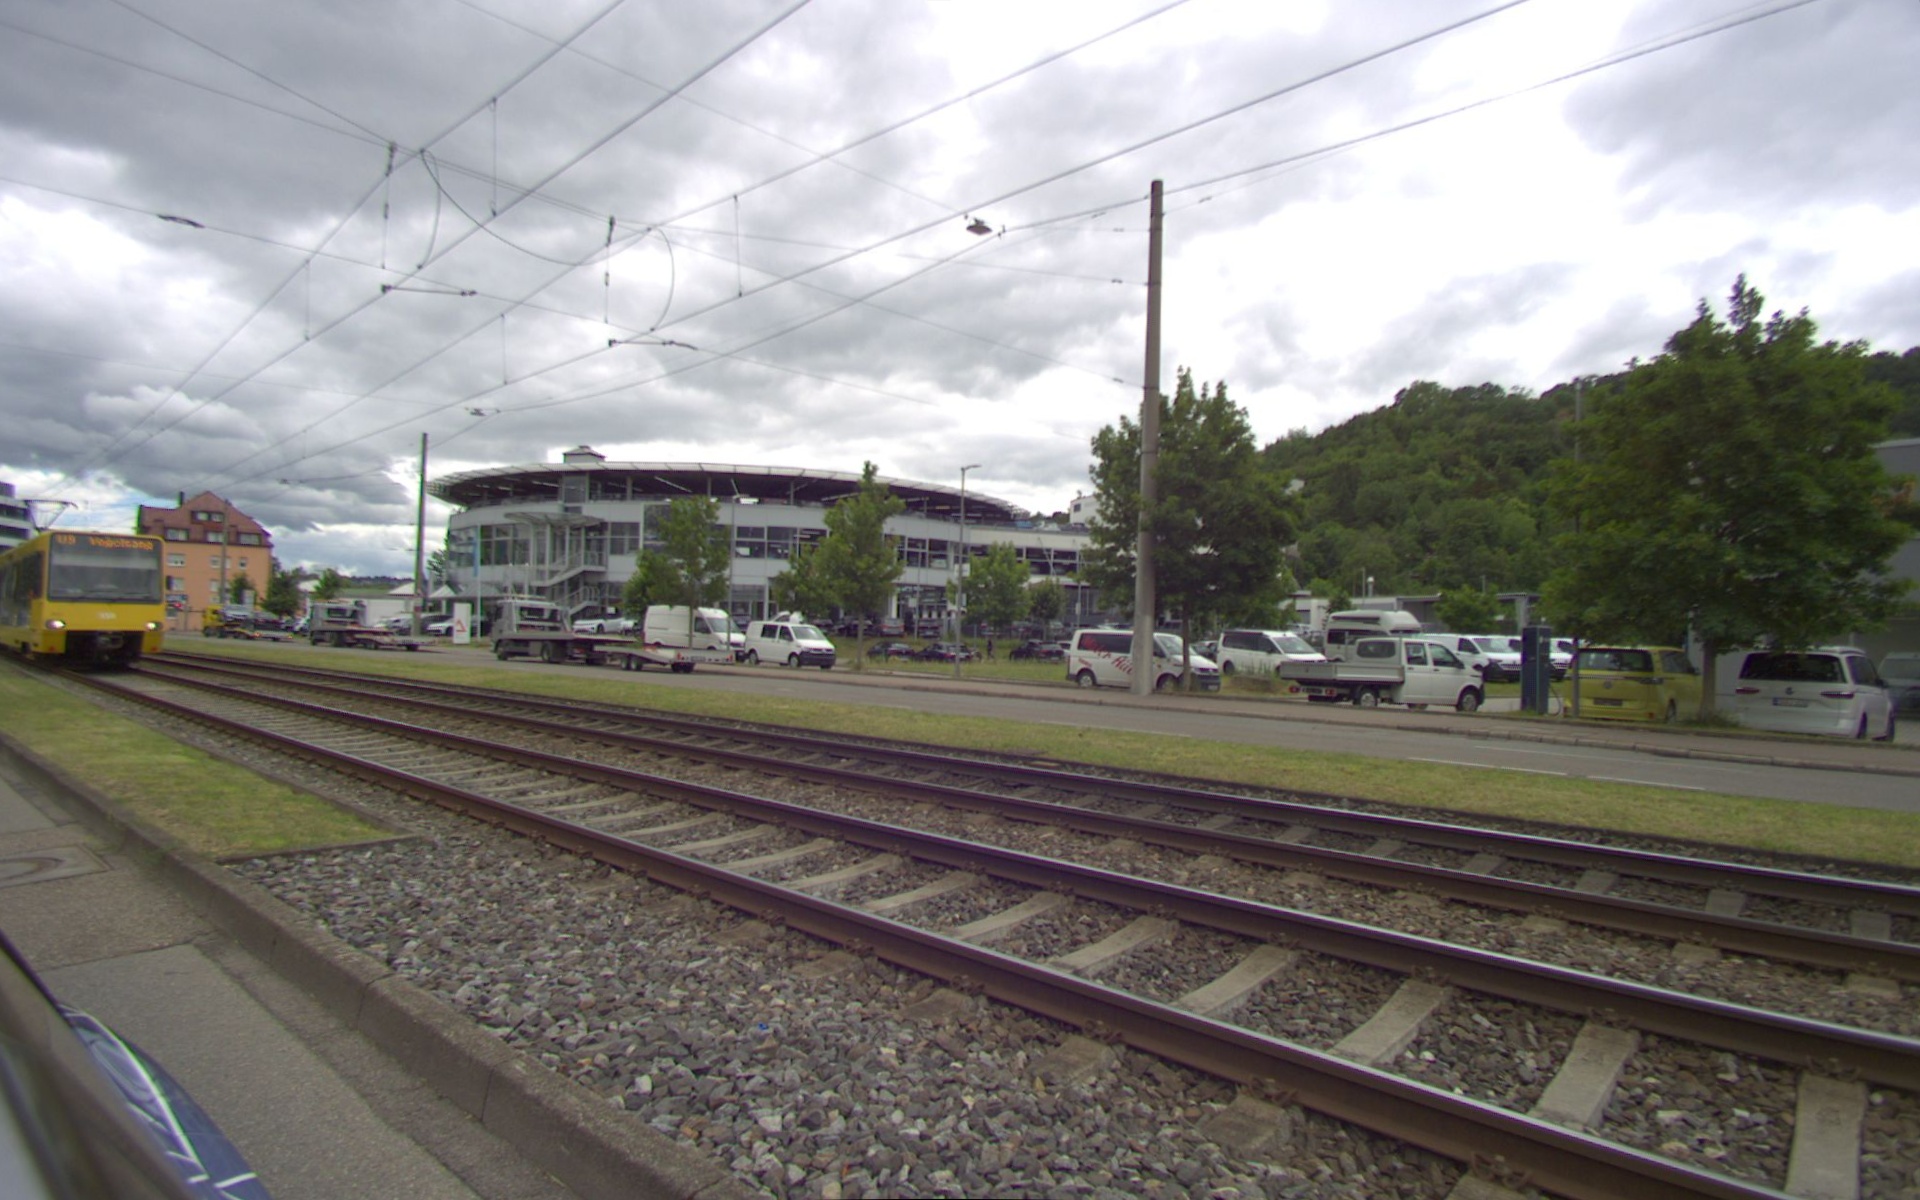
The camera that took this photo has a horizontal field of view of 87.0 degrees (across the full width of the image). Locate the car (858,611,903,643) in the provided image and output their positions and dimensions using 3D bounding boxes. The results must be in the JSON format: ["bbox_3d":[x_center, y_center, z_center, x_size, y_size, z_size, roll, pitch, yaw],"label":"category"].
[{"bbox_3d":[-5.308,1.795,67.436,1.965,2.029,4.012,2,-2,-20],"label":"car"}]

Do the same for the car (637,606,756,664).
[{"bbox_3d":[-12.383,1.645,47.408,5.845,2.580,1.978,-1,-3,33],"label":"car"}]

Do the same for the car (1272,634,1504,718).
[{"bbox_3d":[11.116,1.959,26.276,5.615,2.023,2.151,2,-3,-21],"label":"car"}]

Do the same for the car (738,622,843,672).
[{"bbox_3d":[-7.313,1.975,43.480,4.809,2.029,1.971,-2,-3,44],"label":"car"}]

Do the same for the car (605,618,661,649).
[{"bbox_3d":[-22.514,2.329,69.790,1.978,2.029,3.986,0,-2,10],"label":"car"}]

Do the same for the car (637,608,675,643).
[{"bbox_3d":[-18.432,1.573,61.340,1.965,2.029,4.012,2,-2,-19],"label":"car"}]

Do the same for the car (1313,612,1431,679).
[{"bbox_3d":[17.763,1.941,43.887,1.965,2.726,4.876,2,-2,-20],"label":"car"}]

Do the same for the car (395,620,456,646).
[{"bbox_3d":[-41.566,2.592,78.689,3.934,1.962,2.005,3,-3,-36],"label":"car"}]

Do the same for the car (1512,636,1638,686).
[{"bbox_3d":[28.211,2.757,46.613,1.966,2.144,4.875,2,-2,-17],"label":"car"}]

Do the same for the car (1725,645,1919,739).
[{"bbox_3d":[17.119,1.731,20.023,4.289,1.630,2.124,3,-3,-38],"label":"car"}]

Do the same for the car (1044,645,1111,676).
[{"bbox_3d":[6.628,3.371,57.174,1.649,1.630,3.724,2,-3,-37],"label":"car"}]

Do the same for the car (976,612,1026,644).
[{"bbox_3d":[2.733,1.897,68.063,1.965,2.029,4.012,2,-2,-20],"label":"car"}]

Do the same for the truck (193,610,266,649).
[{"bbox_3d":[-57.249,2.322,79.199,9.068,2.881,3.015,-1,-3,44],"label":"truck"}]

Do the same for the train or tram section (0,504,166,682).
[{"bbox_3d":[-26.766,-0.085,29.884,3.349,4.037,16.955,1,-1,-44],"label":"train or tram section"}]

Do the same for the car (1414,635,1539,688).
[{"bbox_3d":[22.120,2.592,43.599,1.966,2.144,4.875,2,-2,-17],"label":"car"}]

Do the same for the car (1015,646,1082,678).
[{"bbox_3d":[4.835,3.384,55.600,1.649,1.630,3.724,2,-3,-37],"label":"car"}]

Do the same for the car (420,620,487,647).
[{"bbox_3d":[-37.345,2.482,74.710,1.992,1.962,3.959,-1,-3,30],"label":"car"}]

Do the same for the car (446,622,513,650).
[{"bbox_3d":[-34.779,2.601,73.365,1.992,1.962,3.959,-1,-3,30],"label":"car"}]

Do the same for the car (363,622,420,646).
[{"bbox_3d":[-47.342,2.856,84.369,3.930,1.962,2.006,2,-3,-26],"label":"car"}]

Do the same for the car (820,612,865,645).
[{"bbox_3d":[-7.534,1.819,64.647,1.965,2.029,4.012,2,-2,-20],"label":"car"}]

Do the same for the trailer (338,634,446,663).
[{"bbox_3d":[-30.555,2.592,54.297,7.006,1.287,3.015,-1,-5,43],"label":"trailer"}]

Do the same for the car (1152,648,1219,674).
[{"bbox_3d":[13.497,3.649,60.657,1.649,1.447,3.724,2,-3,-37],"label":"car"}]

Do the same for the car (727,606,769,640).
[{"bbox_3d":[-13.177,1.444,62.732,1.965,2.029,4.012,2,-2,-19],"label":"car"}]

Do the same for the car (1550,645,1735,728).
[{"bbox_3d":[15.111,1.830,22.344,4.280,1.630,2.158,3,-3,-38],"label":"car"}]

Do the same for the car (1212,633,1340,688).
[{"bbox_3d":[12.361,2.335,39.990,1.965,2.029,5.150,2,-2,-23],"label":"car"}]

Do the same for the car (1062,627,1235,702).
[{"bbox_3d":[5.582,1.859,30.388,1.970,2.029,4.864,3,-3,-44],"label":"car"}]

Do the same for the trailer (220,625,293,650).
[{"bbox_3d":[-51.148,2.700,73.508,7.570,1.701,2.944,-1,-3,44],"label":"trailer"}]

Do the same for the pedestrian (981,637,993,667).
[{"bbox_3d":[1.396,2.712,52.738,0.492,1.536,0.613,1,-2,-9],"label":"pedestrian"}]

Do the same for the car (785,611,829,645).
[{"bbox_3d":[-9.620,1.770,63.495,1.965,2.029,4.012,2,-2,-19],"label":"car"}]

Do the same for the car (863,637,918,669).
[{"bbox_3d":[-3.796,2.865,54.919,1.648,1.630,3.727,2,-2,-27],"label":"car"}]

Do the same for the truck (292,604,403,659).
[{"bbox_3d":[-36.329,1.866,59.850,8.961,2.944,3.073,-1,-5,43],"label":"truck"}]

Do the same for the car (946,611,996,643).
[{"bbox_3d":[0.696,1.831,67.473,1.965,2.029,4.012,2,-2,-20],"label":"car"}]

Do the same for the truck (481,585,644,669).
[{"bbox_3d":[-16.206,1.126,40.848,8.458,3.004,2.831,-2,-5,45],"label":"truck"}]

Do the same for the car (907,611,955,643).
[{"bbox_3d":[-1.909,1.785,66.468,1.965,2.029,4.012,2,-2,-20],"label":"car"}]

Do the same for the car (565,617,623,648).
[{"bbox_3d":[-25.012,2.270,69.365,1.978,2.029,3.986,0,-2,10],"label":"car"}]

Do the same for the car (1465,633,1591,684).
[{"bbox_3d":[25.152,2.553,45.074,1.966,2.144,4.875,2,-2,-17],"label":"car"}]

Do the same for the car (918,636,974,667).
[{"bbox_3d":[-0.806,2.782,54.865,1.648,1.630,3.728,2,-2,-25],"label":"car"}]

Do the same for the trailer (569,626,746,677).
[{"bbox_3d":[-10.674,1.756,35.241,7.228,1.507,2.726,-2,-6,45],"label":"trailer"}]
